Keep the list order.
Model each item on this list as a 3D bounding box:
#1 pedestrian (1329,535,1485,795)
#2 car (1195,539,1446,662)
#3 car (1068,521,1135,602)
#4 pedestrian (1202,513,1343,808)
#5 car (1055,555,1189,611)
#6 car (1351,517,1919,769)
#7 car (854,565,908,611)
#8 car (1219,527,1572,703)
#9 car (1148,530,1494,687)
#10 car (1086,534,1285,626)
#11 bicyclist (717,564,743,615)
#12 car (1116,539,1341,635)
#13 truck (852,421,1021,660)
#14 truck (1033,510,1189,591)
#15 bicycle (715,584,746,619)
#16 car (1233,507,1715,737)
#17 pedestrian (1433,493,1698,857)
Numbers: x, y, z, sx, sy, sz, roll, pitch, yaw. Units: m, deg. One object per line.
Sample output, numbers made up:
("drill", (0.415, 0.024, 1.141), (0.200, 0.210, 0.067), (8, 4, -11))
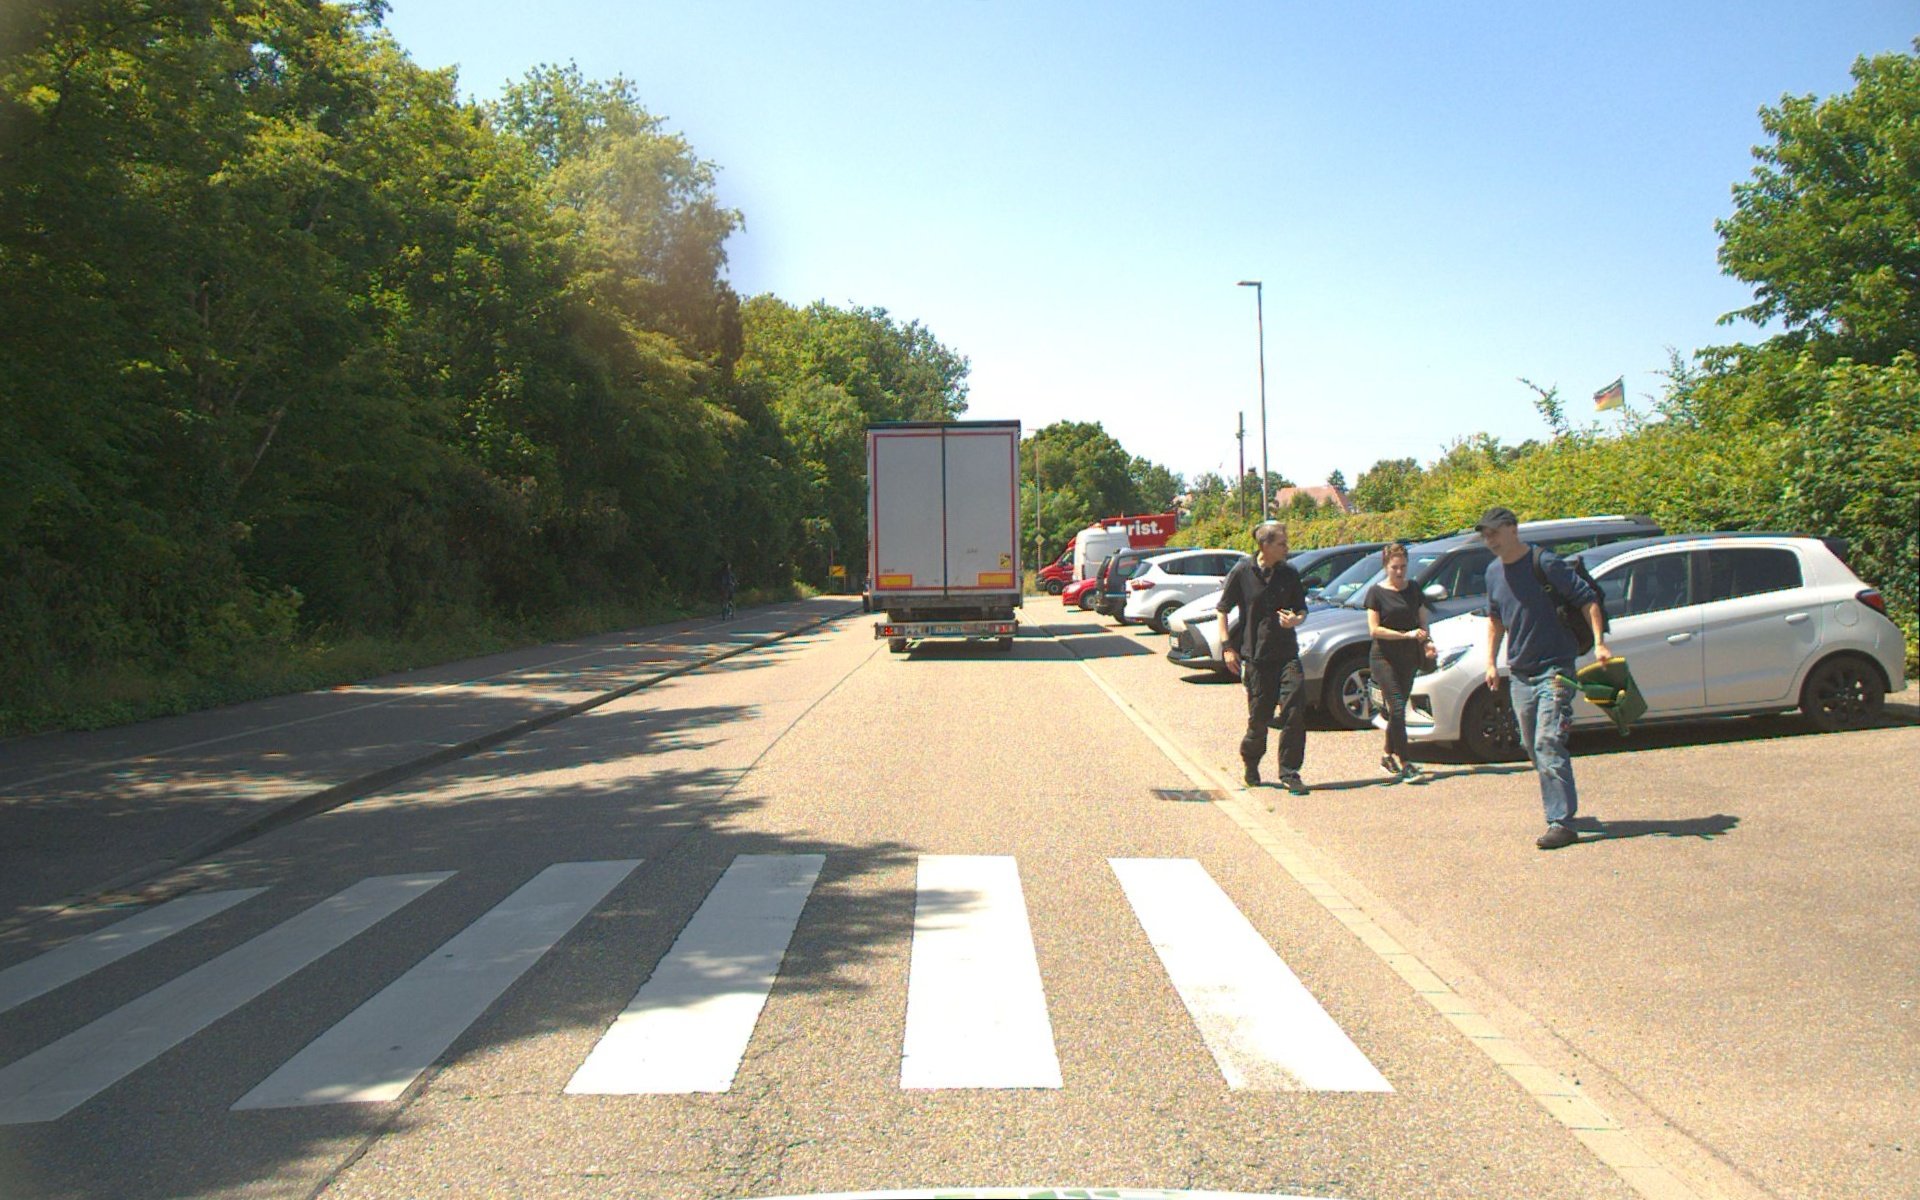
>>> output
("pedestrian", (3.031, 0.411, 11.294), (0.762, 1.638, 0.897), (-6, 1, 7))
("car", (5.232, -0.020, 24.302), (3.317, 1.529, 1.589), (-4, 2, 3))
("car", (5.354, -1.480, 63.414), (1.914, 2.780, 7.169), (-4, 1, 1))
("pedestrian", (2.131, 0.382, 11.407), (0.765, 1.896, 1.087), (-4, 2, 7))
("car", (5.141, -0.558, 52.863), (3.974, 1.458, 1.835), (-4, 1, -3))
("car", (5.011, 0.288, 12.642), (3.613, 1.475, 1.611), (-5, 1, 3))
("car", (-3.081, -0.505, 65.148), (1.853, 1.558, 4.196), (-6, 1, -1))
("car", (4.793, 0.134, 18.437), (3.386, 1.553, 1.538), (-6, 1, -5))
("car", (4.578, 0.080, 21.303), (3.887, 1.549, 1.862), (-6, 1, -6))
("car", (5.410, -0.477, 39.965), (4.366, 1.836, 1.951), (-4, 1, -4))
("bicyclist", (-7.327, -0.340, 52.715), (0.635, 1.592, 0.837), (-2, 1, 4))
("car", (5.428, -0.283, 33.755), (4.191, 1.605, 1.765), (-4, 1, -2))
("truck", (-0.286, -1.093, 33.325), (2.677, 3.811, 13.248), (-1, 1, 1))
("truck", (7.097, -2.315, 77.450), (6.984, 3.499, 2.333), (-1, 2, 11))
("bicycle", (-7.308, 0.043, 52.741), (0.549, 1.045, 1.840), (-2, 1, 4))
("car", (4.732, 0.168, 15.520), (3.885, 1.668, 1.662), (-6, 1, -6))
("pedestrian", (3.256, 0.366, 8.849), (1.002, 1.781, 1.156), (-4, 1, 33))
